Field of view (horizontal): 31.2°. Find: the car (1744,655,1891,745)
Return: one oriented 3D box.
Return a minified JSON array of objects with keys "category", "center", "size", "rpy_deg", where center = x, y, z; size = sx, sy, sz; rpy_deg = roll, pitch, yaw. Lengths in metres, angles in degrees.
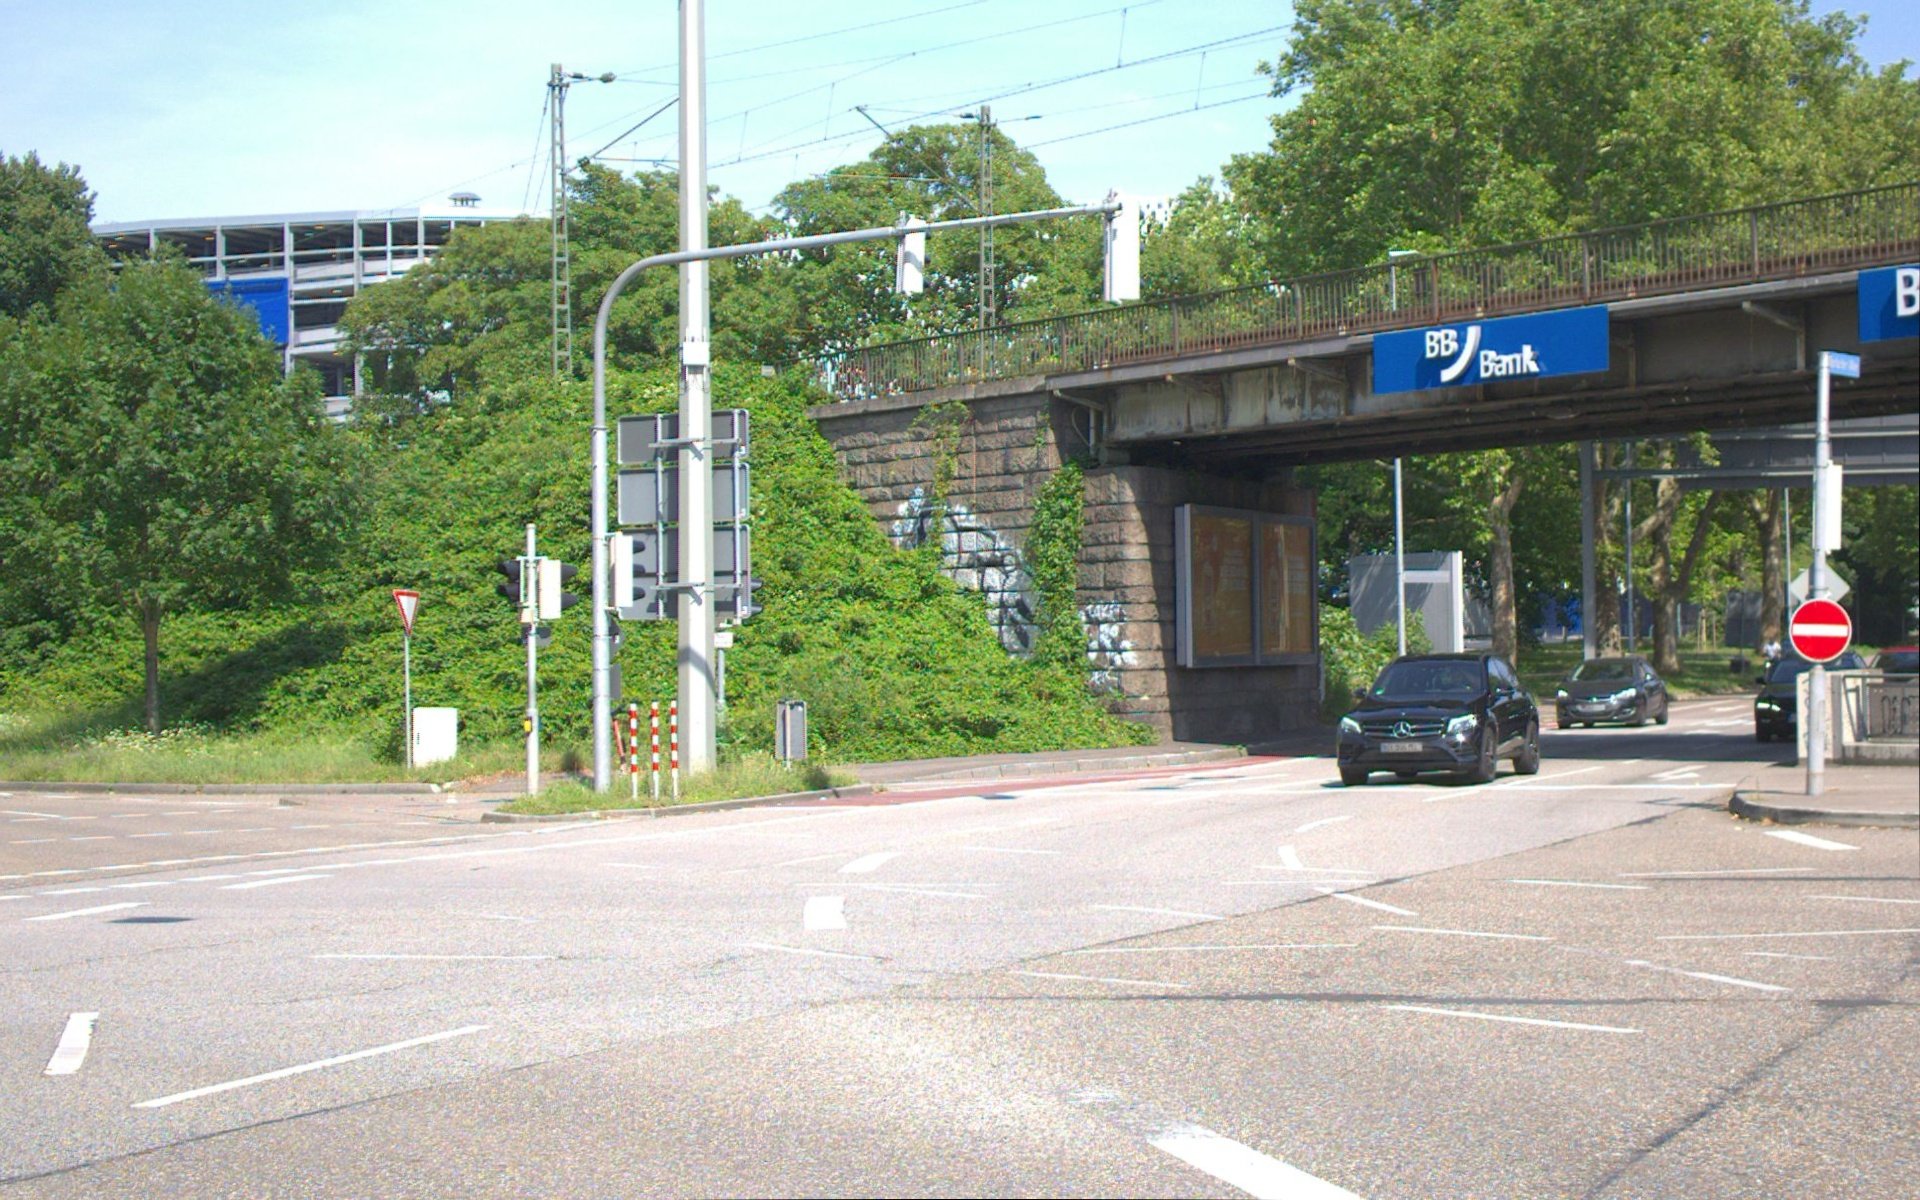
[{"category":"car","center":[14.383,1.652,57.547],"size":[1.689,1.437,3.995],"rpy_deg":[-1,-1,24]}]

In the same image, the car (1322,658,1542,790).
[{"category":"car","center":[6.122,1.557,44.198],"size":[1.995,1.590,4.441],"rpy_deg":[-1,-1,18]}]

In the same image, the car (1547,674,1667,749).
[{"category":"car","center":[13.580,2.317,71.953],"size":[1.824,1.501,4.211],"rpy_deg":[-1,-1,19]}]
